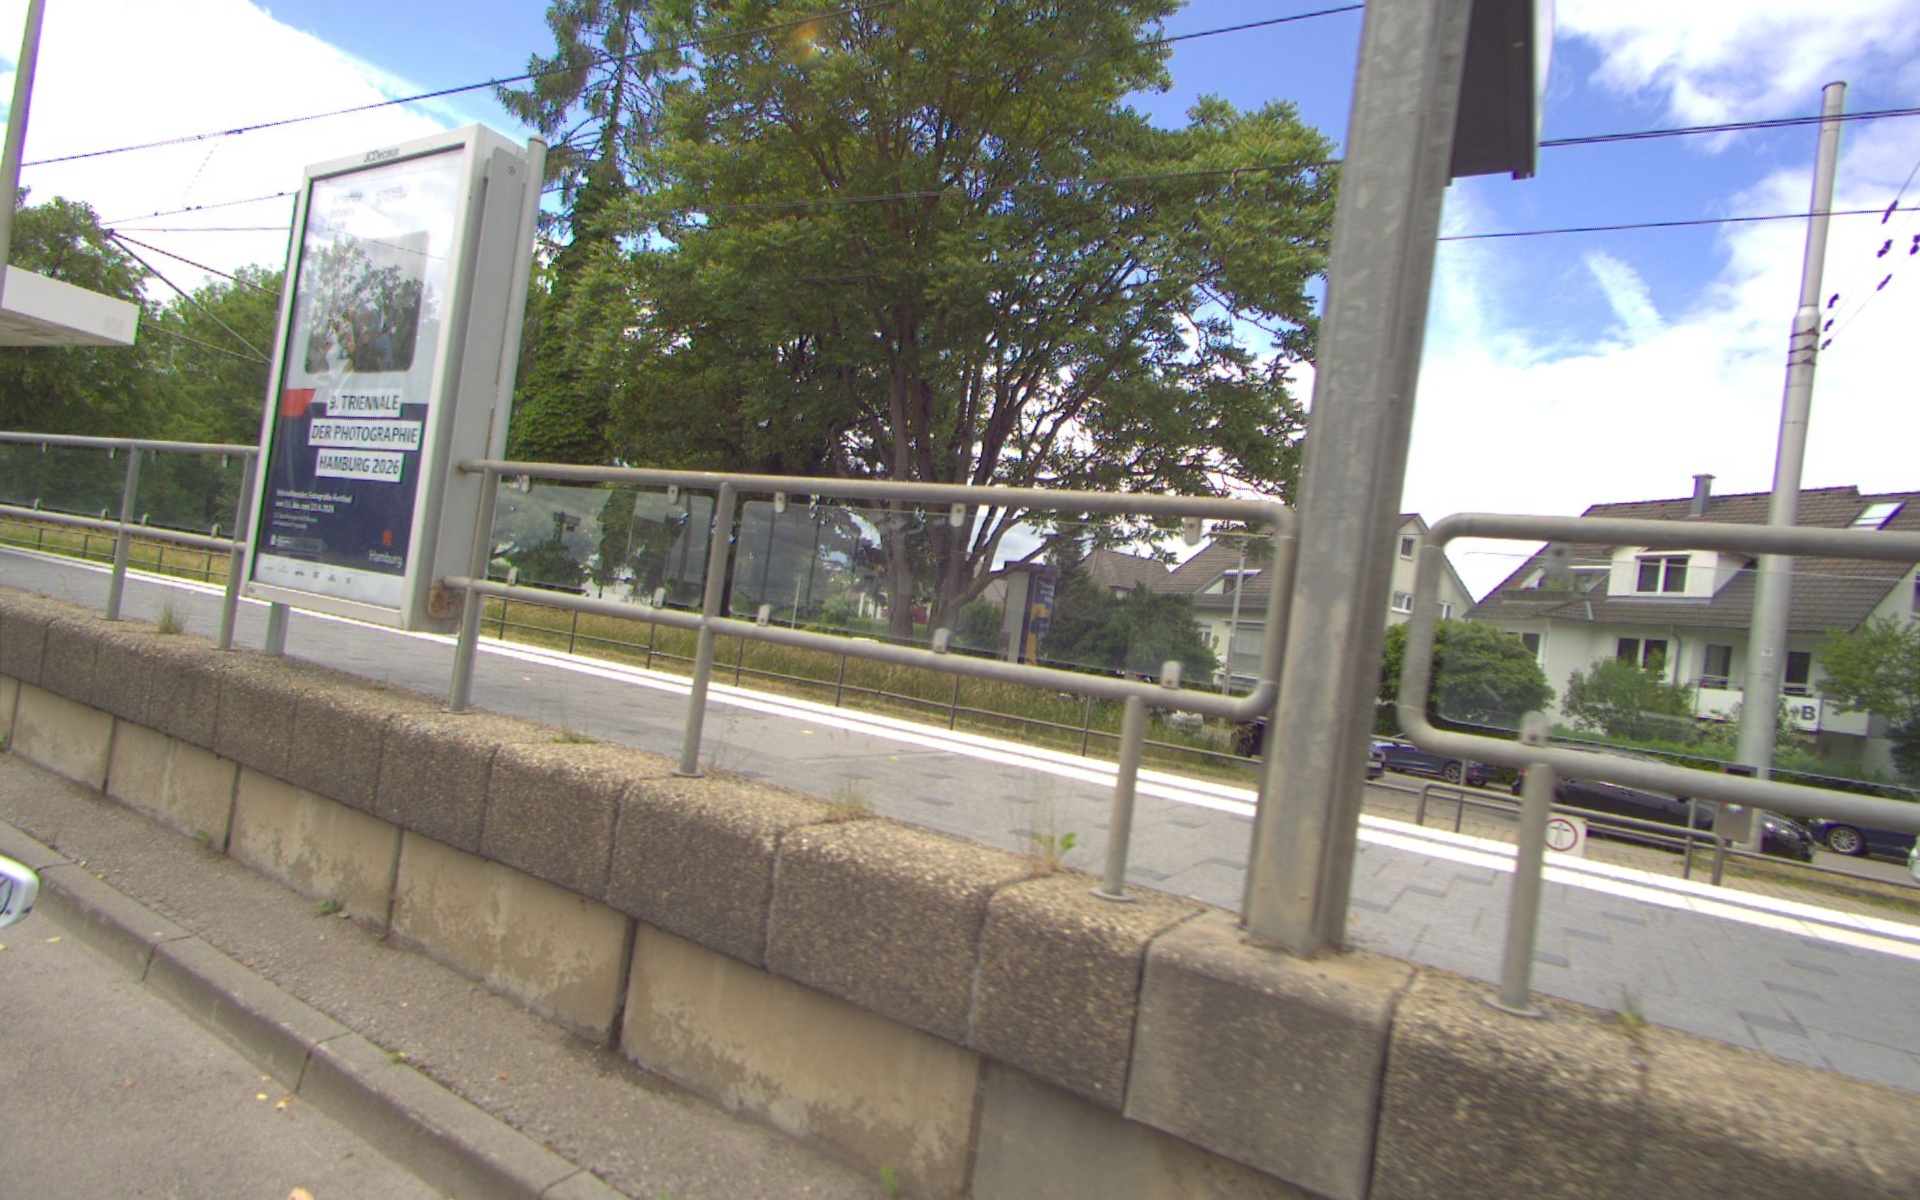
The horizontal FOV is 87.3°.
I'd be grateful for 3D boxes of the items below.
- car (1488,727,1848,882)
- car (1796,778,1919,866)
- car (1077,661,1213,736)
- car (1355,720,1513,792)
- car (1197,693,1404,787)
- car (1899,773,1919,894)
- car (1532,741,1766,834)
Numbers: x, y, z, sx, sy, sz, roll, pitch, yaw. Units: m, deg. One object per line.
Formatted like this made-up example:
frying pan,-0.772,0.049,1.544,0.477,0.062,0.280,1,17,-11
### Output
car,11.518,3.257,16.656,1.834,1.505,4.452,9,-2,-39
car,21.365,5.033,21.628,1.749,1.505,4.879,8,-3,-38
car,6.250,3.326,34.479,1.748,1.865,4.459,9,-3,-35
car,14.346,4.709,30.595,1.750,1.505,3.858,8,-3,-40
car,7.684,3.149,23.158,1.742,1.504,4.476,9,-4,-26
car,15.060,3.440,12.976,4.040,1.592,1.757,7,-2,39
car,17.799,4.807,26.209,1.749,1.505,4.649,8,-3,-38
